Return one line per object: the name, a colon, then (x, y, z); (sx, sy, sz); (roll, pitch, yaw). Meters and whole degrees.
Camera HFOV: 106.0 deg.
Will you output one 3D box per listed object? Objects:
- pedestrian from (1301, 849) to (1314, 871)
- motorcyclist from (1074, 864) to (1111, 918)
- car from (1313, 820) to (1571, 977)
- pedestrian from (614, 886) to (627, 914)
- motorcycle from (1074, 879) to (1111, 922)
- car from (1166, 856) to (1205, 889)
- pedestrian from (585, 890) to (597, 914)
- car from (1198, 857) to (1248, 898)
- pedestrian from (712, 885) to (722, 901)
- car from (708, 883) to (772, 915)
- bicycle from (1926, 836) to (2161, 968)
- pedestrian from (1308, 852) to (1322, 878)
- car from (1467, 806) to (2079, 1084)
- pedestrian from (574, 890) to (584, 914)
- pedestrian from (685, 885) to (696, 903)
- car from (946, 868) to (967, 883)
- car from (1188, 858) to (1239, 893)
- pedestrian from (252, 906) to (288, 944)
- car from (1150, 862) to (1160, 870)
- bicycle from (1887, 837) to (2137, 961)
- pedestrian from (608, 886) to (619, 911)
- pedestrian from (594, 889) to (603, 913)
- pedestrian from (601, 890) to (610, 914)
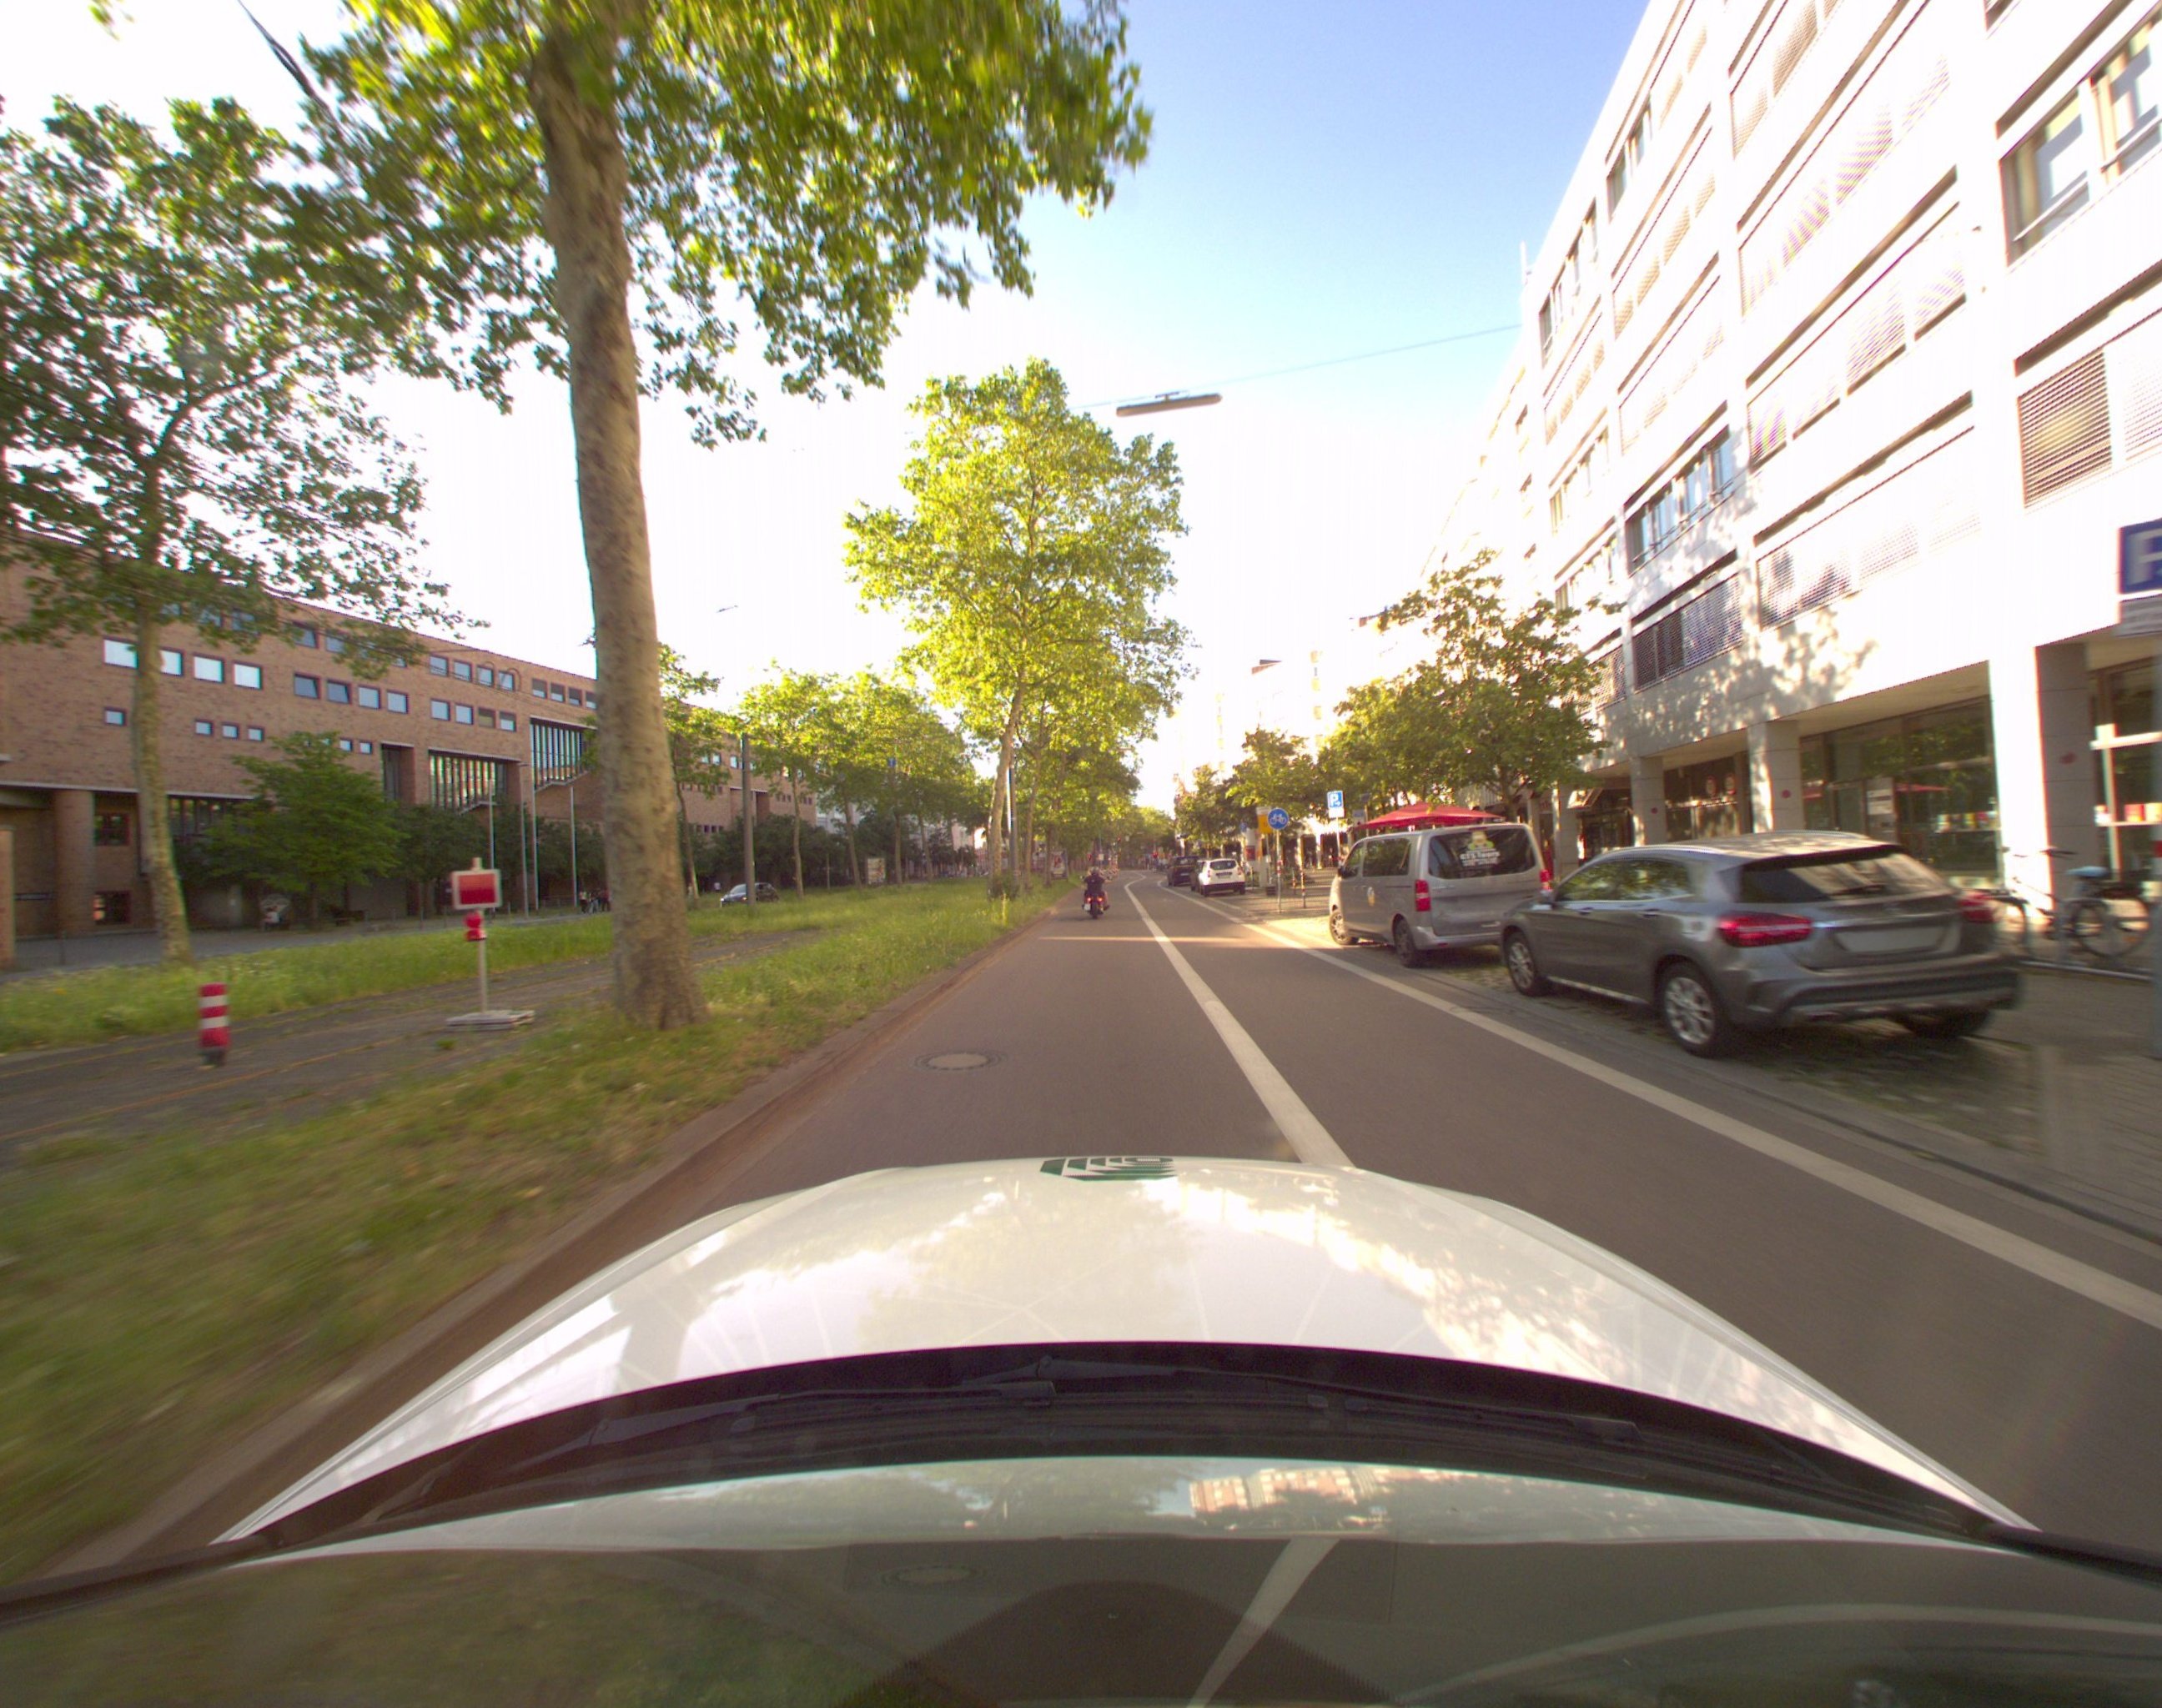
pedestrian: (20.409, 0.561, 73.456); (0.863, 1.884, 1.060); (-2, -1, 6)
motorcyclist: (0.362, 1.106, 24.790); (1.018, 1.552, 1.287); (-3, 0, 2)
car: (5.306, 0.617, 12.871); (1.915, 1.843, 4.927); (-5, -1, 2)
pedestrian: (-29.093, 2.887, 51.455); (0.433, 1.704, 0.481); (-3, -1, 9)
motorcycle: (0.380, 1.383, 24.792); (1.002, 1.125, 2.324); (-3, 0, 2)
car: (6.904, 1.206, 54.213); (2.022, 1.977, 4.416); (-4, -1, 2)
pedestrian: (-29.607, 2.895, 49.188); (0.388, 1.416, 0.460); (-3, -1, 9)
car: (6.351, 1.039, 36.710); (1.850, 1.638, 3.873); (-3, -1, 5)
pedestrian: (-29.213, 3.134, 65.366); (0.499, 1.291, 0.522); (-3, -1, 7)
car: (-17.550, 2.289, 42.093); (1.587, 1.399, 3.735); (-3, -1, 2)
bicycle: (9.639, 0.469, 8.058); (1.823, 1.151, 0.471); (-4, -1, 7)
pedestrian: (18.850, 0.898, 65.597); (0.862, 2.014, 0.884); (-2, -1, 6)
car: (5.296, 0.603, 7.243); (1.850, 1.573, 4.421); (-5, -1, 5)
pedestrian: (-30.272, 2.900, 49.119); (0.362, 1.420, 0.333); (-3, -1, 10)
pedestrian: (-28.611, 2.906, 59.648); (0.499, 1.291, 0.522); (-3, -1, 7)
car: (-15.061, 2.618, 98.879); (1.894, 1.687, 3.999); (-2, -1, 0)
car: (6.844, 1.096, 42.488); (1.980, 1.629, 4.086); (-4, -1, 2)
pedestrian: (-41.528, 3.631, 41.705); (0.970, 1.882, 0.883); (-3, -1, 12)
car: (16.854, 2.704, 185.025); (1.982, 1.706, 4.010); (-3, -1, 9)
bicycle: (9.702, 0.464, 8.534); (1.823, 1.151, 0.471); (-4, -1, 7)
pedestrian: (-29.100, 2.741, 50.686); (0.363, 1.523, 0.424); (-3, -1, 10)
pedestrian: (-30.067, 2.934, 50.708); (0.290, 1.457, 0.317); (-3, -1, 9)
pedestrian: (-29.611, 2.983, 50.698); (0.316, 1.457, 0.342); (-3, -1, 9)
